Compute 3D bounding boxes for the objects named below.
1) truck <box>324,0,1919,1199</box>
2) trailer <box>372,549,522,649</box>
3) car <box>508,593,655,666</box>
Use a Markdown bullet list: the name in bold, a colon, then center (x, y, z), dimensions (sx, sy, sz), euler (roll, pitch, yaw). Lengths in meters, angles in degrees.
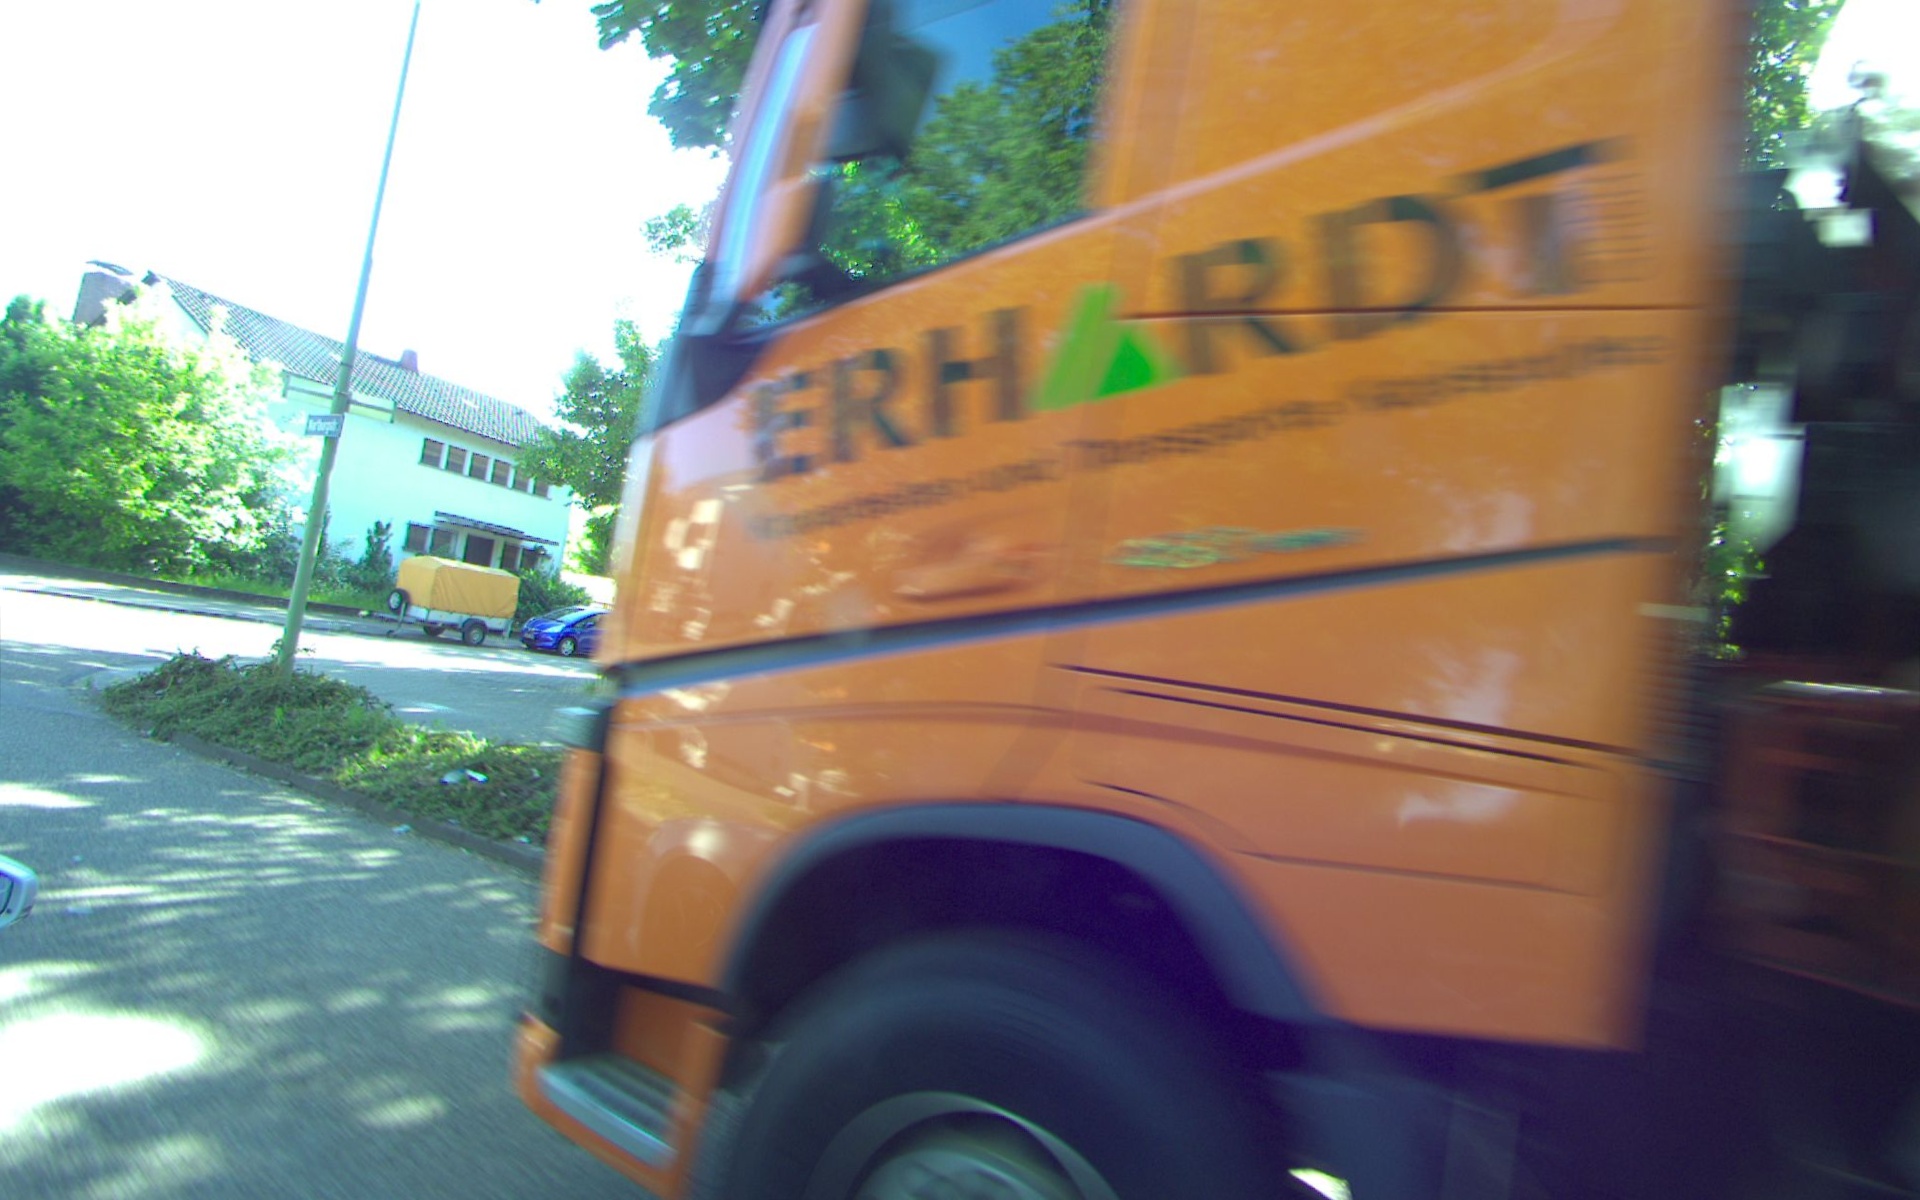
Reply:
- **truck**: center (3.935, 0.220, 1.126), dimensions (10.169, 4.036, 2.784), euler (7, -4, 29)
- **trailer**: center (-13.593, 0.018, 26.807), dimensions (1.582, 2.138, 2.955), euler (7, -4, 27)
- **car**: center (-11.391, 0.939, 30.518), dimensions (1.560, 1.572, 3.914), euler (7, -4, 29)
